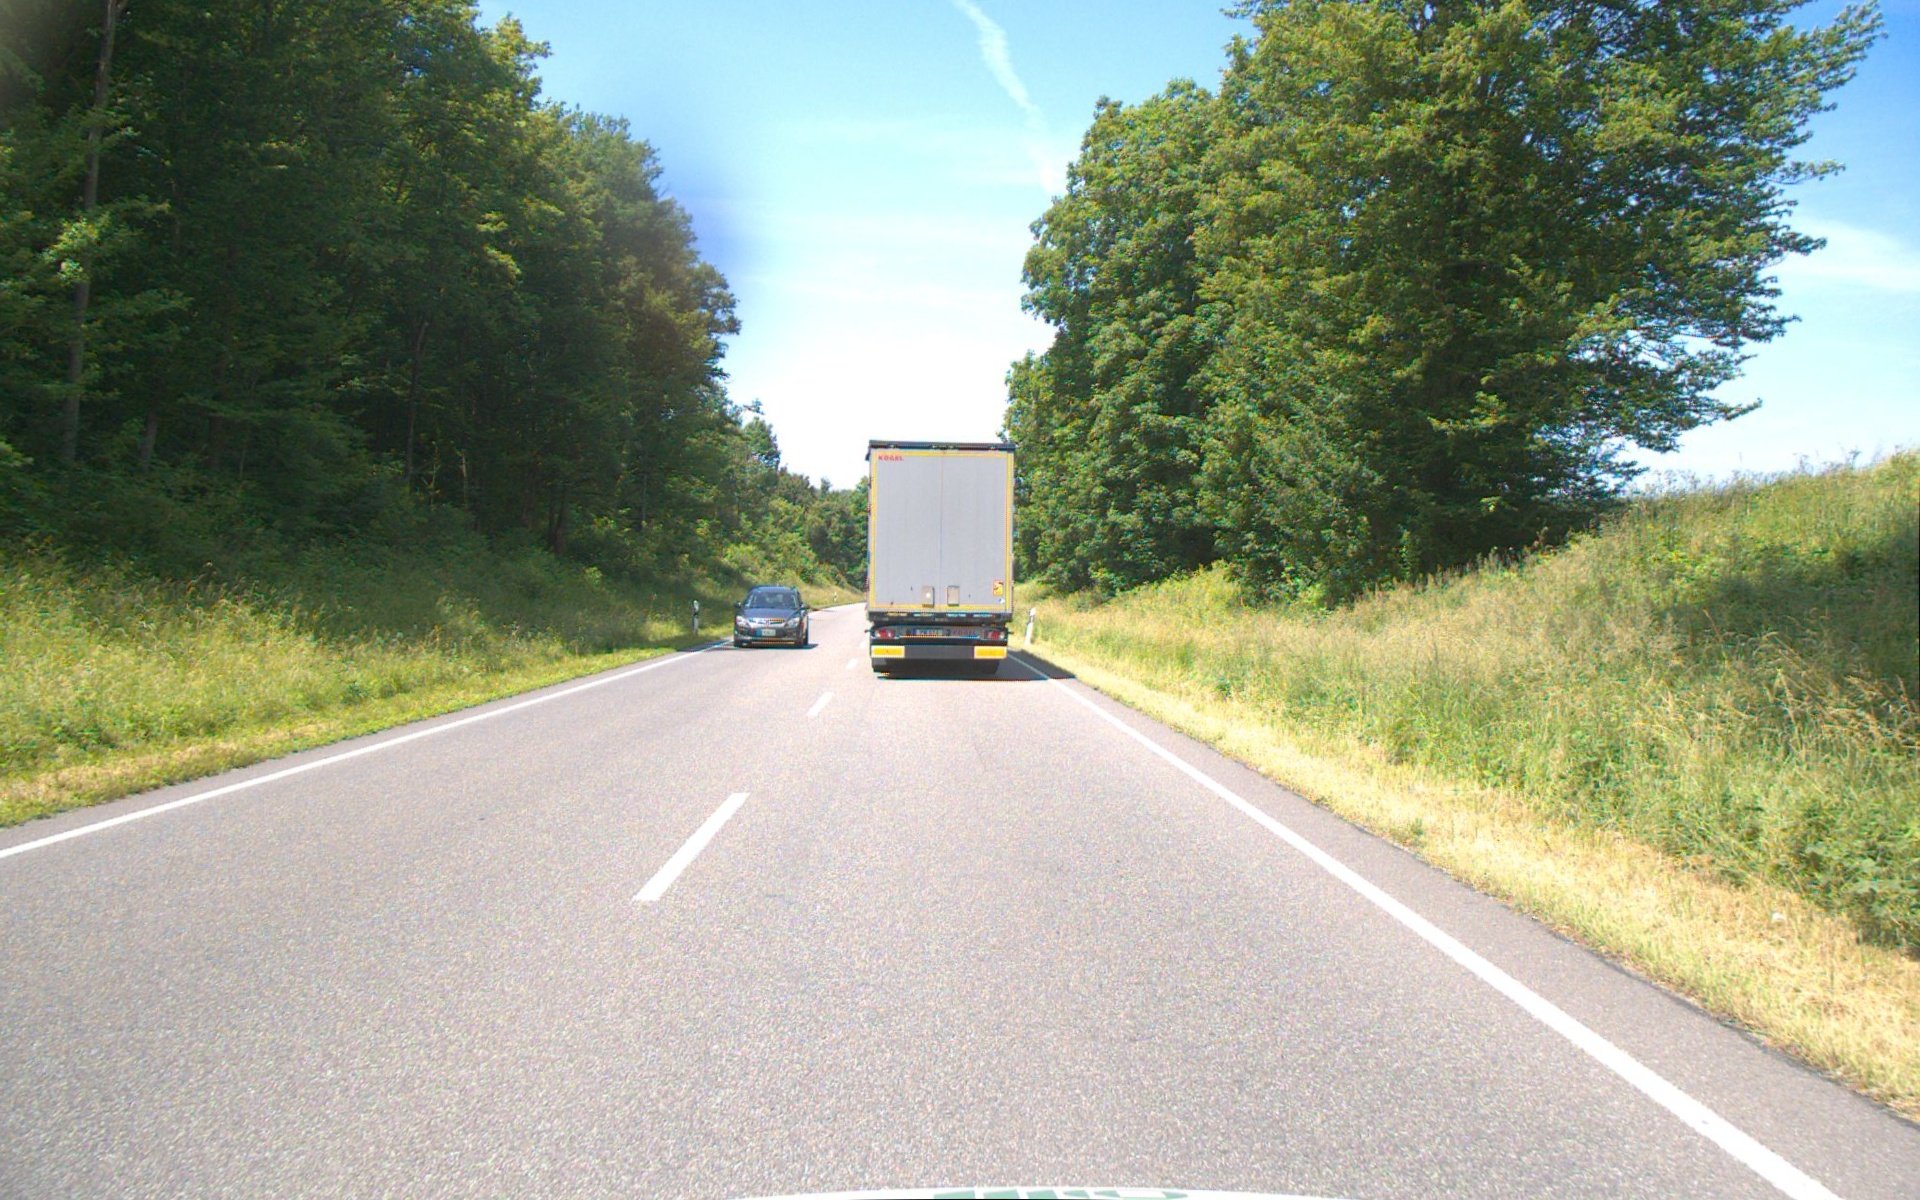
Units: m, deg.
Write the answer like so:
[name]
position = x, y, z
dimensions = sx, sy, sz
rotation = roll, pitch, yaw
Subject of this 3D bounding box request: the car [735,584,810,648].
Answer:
[car]
position = -4.869, 0.387, 43.351
dimensions = 1.736, 1.597, 4.215
rotation = 1, 0, -4

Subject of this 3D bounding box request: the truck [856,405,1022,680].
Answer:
[truck]
position = -0.576, -1.006, 33.892
dimensions = 2.761, 4.612, 11.763
rotation = 1, 0, -2
